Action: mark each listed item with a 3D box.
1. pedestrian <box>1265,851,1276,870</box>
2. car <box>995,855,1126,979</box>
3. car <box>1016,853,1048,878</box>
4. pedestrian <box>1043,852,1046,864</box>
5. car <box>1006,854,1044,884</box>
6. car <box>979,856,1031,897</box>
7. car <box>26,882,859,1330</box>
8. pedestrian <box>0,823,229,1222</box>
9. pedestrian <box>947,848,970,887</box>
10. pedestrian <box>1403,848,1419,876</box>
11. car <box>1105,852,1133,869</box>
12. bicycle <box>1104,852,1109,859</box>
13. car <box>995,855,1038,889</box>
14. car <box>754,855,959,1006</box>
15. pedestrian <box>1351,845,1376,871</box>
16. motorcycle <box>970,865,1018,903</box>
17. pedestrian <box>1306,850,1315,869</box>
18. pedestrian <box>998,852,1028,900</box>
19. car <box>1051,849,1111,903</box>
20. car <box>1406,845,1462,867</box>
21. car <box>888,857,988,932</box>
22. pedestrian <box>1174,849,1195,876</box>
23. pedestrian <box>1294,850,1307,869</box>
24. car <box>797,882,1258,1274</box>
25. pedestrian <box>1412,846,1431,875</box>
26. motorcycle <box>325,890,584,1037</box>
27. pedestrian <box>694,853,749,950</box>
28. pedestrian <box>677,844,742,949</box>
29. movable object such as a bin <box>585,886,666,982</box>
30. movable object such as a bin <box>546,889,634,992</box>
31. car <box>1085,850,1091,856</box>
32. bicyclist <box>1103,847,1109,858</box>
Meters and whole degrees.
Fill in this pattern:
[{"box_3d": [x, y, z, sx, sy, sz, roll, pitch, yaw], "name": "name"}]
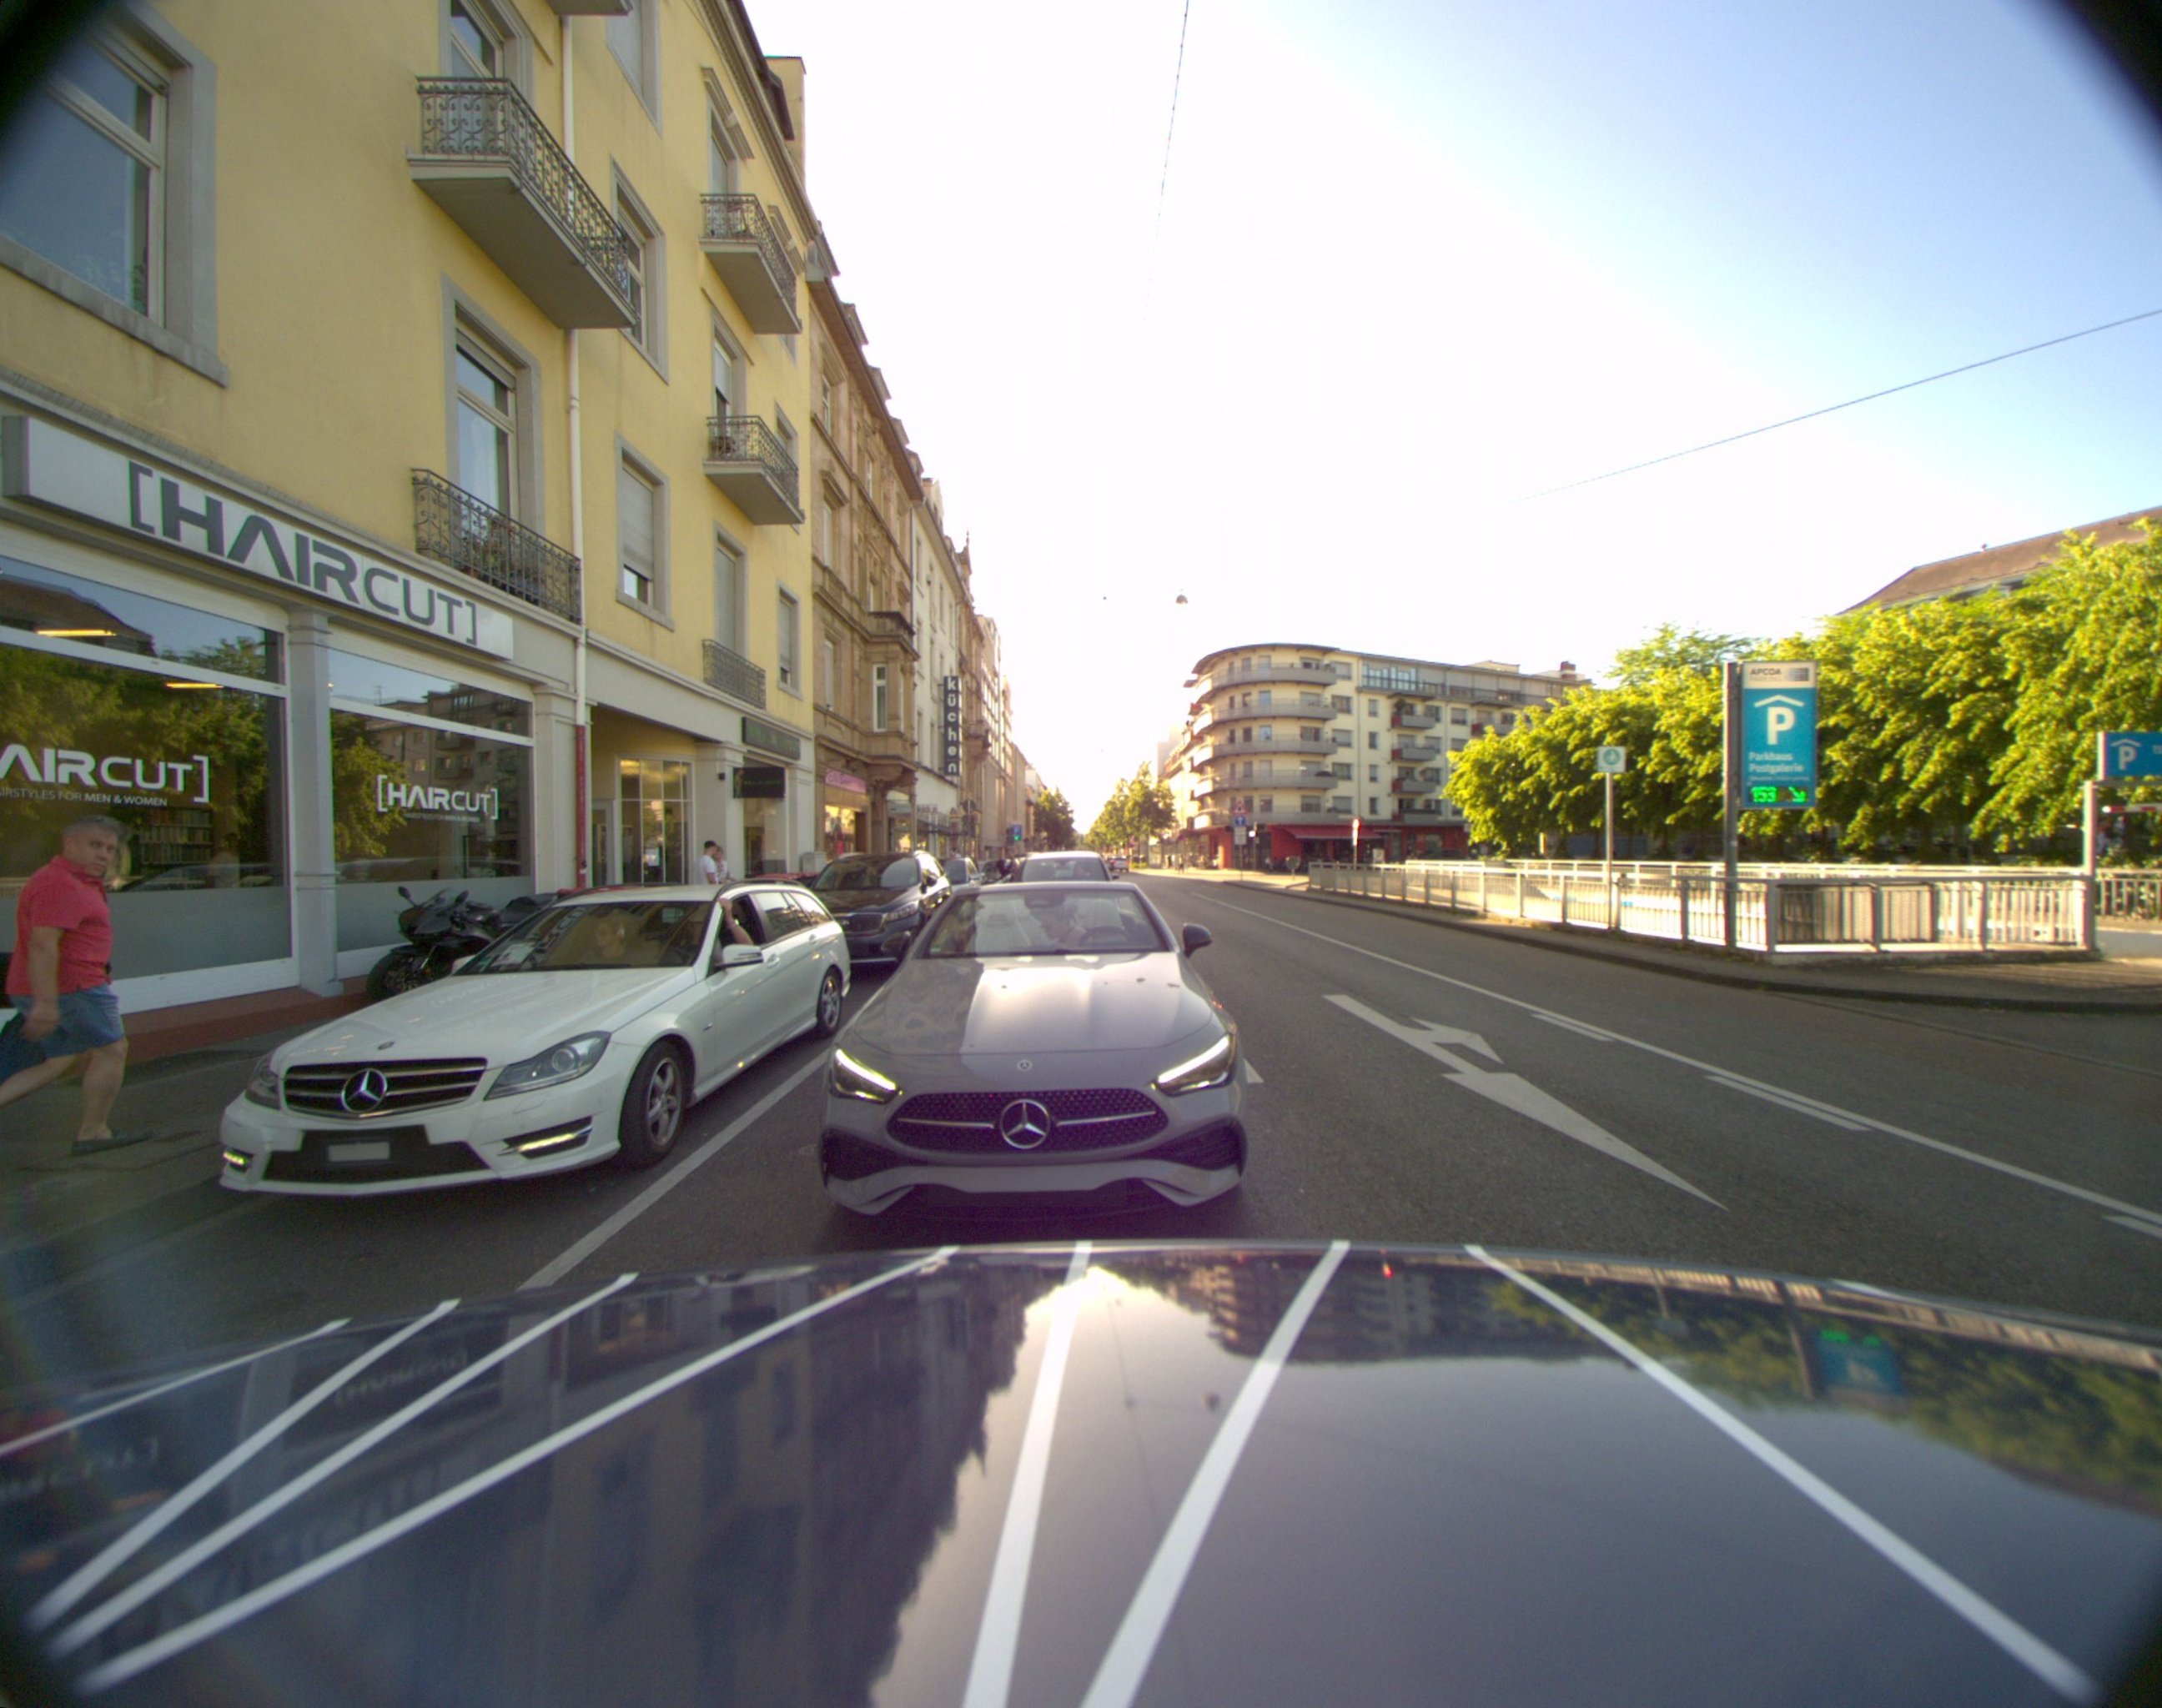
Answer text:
[{"box_3d": [15.053, 0.492, 60.265, 0.791, 1.452, 0.583, -1, 1, 10], "name": "pedestrian"}, {"box_3d": [-0.249, 0.844, 12.170, 1.716, 1.599, 4.000, -1, 0, 1], "name": "car"}, {"box_3d": [-3.024, 0.684, 47.586, 1.715, 1.477, 4.062, -1, 0, 0], "name": "car"}, {"box_3d": [-5.417, 0.599, 112.597, 0.466, 1.769, 0.569, -1, 1, -1], "name": "pedestrian"}, {"box_3d": [-2.981, 0.756, 40.992, 1.715, 1.477, 3.999, -1, 0, 0], "name": "car"}, {"box_3d": [-3.001, 0.859, 30.721, 1.715, 1.477, 3.999, -1, 0, 0], "name": "car"}, {"box_3d": [-3.069, 1.039, 5.165, 1.759, 1.453, 4.597, -1, 0, 0], "name": "car"}, {"box_3d": [-5.181, 0.743, 3.733, 0.865, 1.774, 1.009, 2, 1, 9], "name": "pedestrian"}, {"box_3d": [-5.181, 0.557, 32.174, 0.795, 1.607, 0.763, -1, 1, -1], "name": "pedestrian"}, {"box_3d": [20.915, 0.505, 48.183, 0.674, 1.696, 0.699, -2, 1, -7], "name": "pedestrian"}, {"box_3d": [3.427, 0.587, 69.911, 1.803, 1.426, 4.248, -1, 0, -8], "name": "car"}, {"box_3d": [4.017, 0.275, 121.210, 0.661, 1.083, 1.970, -2, 0, -1], "name": "bicycle"}, {"box_3d": [-3.049, 0.806, 36.474, 1.715, 1.477, 3.999, -1, 0, 0], "name": "car"}, {"box_3d": [-2.981, 0.889, 11.214, 1.858, 1.688, 4.697, -1, 0, -4], "name": "car"}, {"box_3d": [22.044, 0.322, 59.318, 1.234, 2.002, 1.259, -2, 1, -21], "name": "pedestrian"}, {"box_3d": [-3.056, 1.041, 26.781, 0.769, 1.225, 1.546, -1, 1, 42], "name": "motorcycle"}, {"box_3d": [17.950, 0.453, 59.493, 0.581, 1.481, 0.793, -1, 1, 13], "name": "pedestrian"}, {"box_3d": [-2.427, 0.769, 27.093, 0.692, 1.657, 0.836, -1, 1, 25], "name": "pedestrian"}, {"box_3d": [0.039, 0.714, 27.218, 1.952, 1.742, 4.000, -1, 0, 1], "name": "car"}, {"box_3d": [29.034, 0.165, 62.445, 4.004, 1.740, 1.996, -2, 1, -23], "name": "car"}, {"box_3d": [-3.286, 0.886, 17.973, 1.696, 1.559, 3.018, -1, 0, 1], "name": "car"}, {"box_3d": [7.866, 0.655, 57.672, 1.018, 2.002, 1.202, -1, 1, 37], "name": "pedestrian"}, {"box_3d": [17.690, 0.431, 61.148, 0.583, 1.453, 0.790, -2, 1, -37], "name": "pedestrian"}, {"box_3d": [-0.237, 0.998, 5.252, 1.849, 1.371, 4.255, -2, 0, -1], "name": "car"}, {"box_3d": [21.668, 0.428, 48.354, 0.755, 1.795, 0.756, -2, 1, -15], "name": "pedestrian"}, {"box_3d": [-6.260, 1.018, 7.819, 0.773, 1.158, 2.247, 1, 0, 1], "name": "motorcycle"}, {"box_3d": [-6.149, 0.793, 13.020, 0.572, 1.607, 0.643, -1, 1, 2], "name": "pedestrian"}, {"box_3d": [-5.862, 0.654, 12.024, 0.642, 1.607, 0.701, -1, 1, -1], "name": "pedestrian"}, {"box_3d": [-6.057, 1.049, 10.133, 0.647, 1.200, 0.644, -1, 1, 1], "name": "movable object such as a bin"}, {"box_3d": [-6.107, 1.058, 9.481, 0.647, 1.200, 0.644, -1, 1, 1], "name": "movable object such as a bin"}, {"box_3d": [2.272, -0.280, 253.419, 1.998, 1.805, 4.000, -2, 0, 1], "name": "car"}, {"box_3d": [3.984, -0.249, 121.075, 0.758, 1.651, 1.143, -2, 1, -2], "name": "bicyclist"}]
